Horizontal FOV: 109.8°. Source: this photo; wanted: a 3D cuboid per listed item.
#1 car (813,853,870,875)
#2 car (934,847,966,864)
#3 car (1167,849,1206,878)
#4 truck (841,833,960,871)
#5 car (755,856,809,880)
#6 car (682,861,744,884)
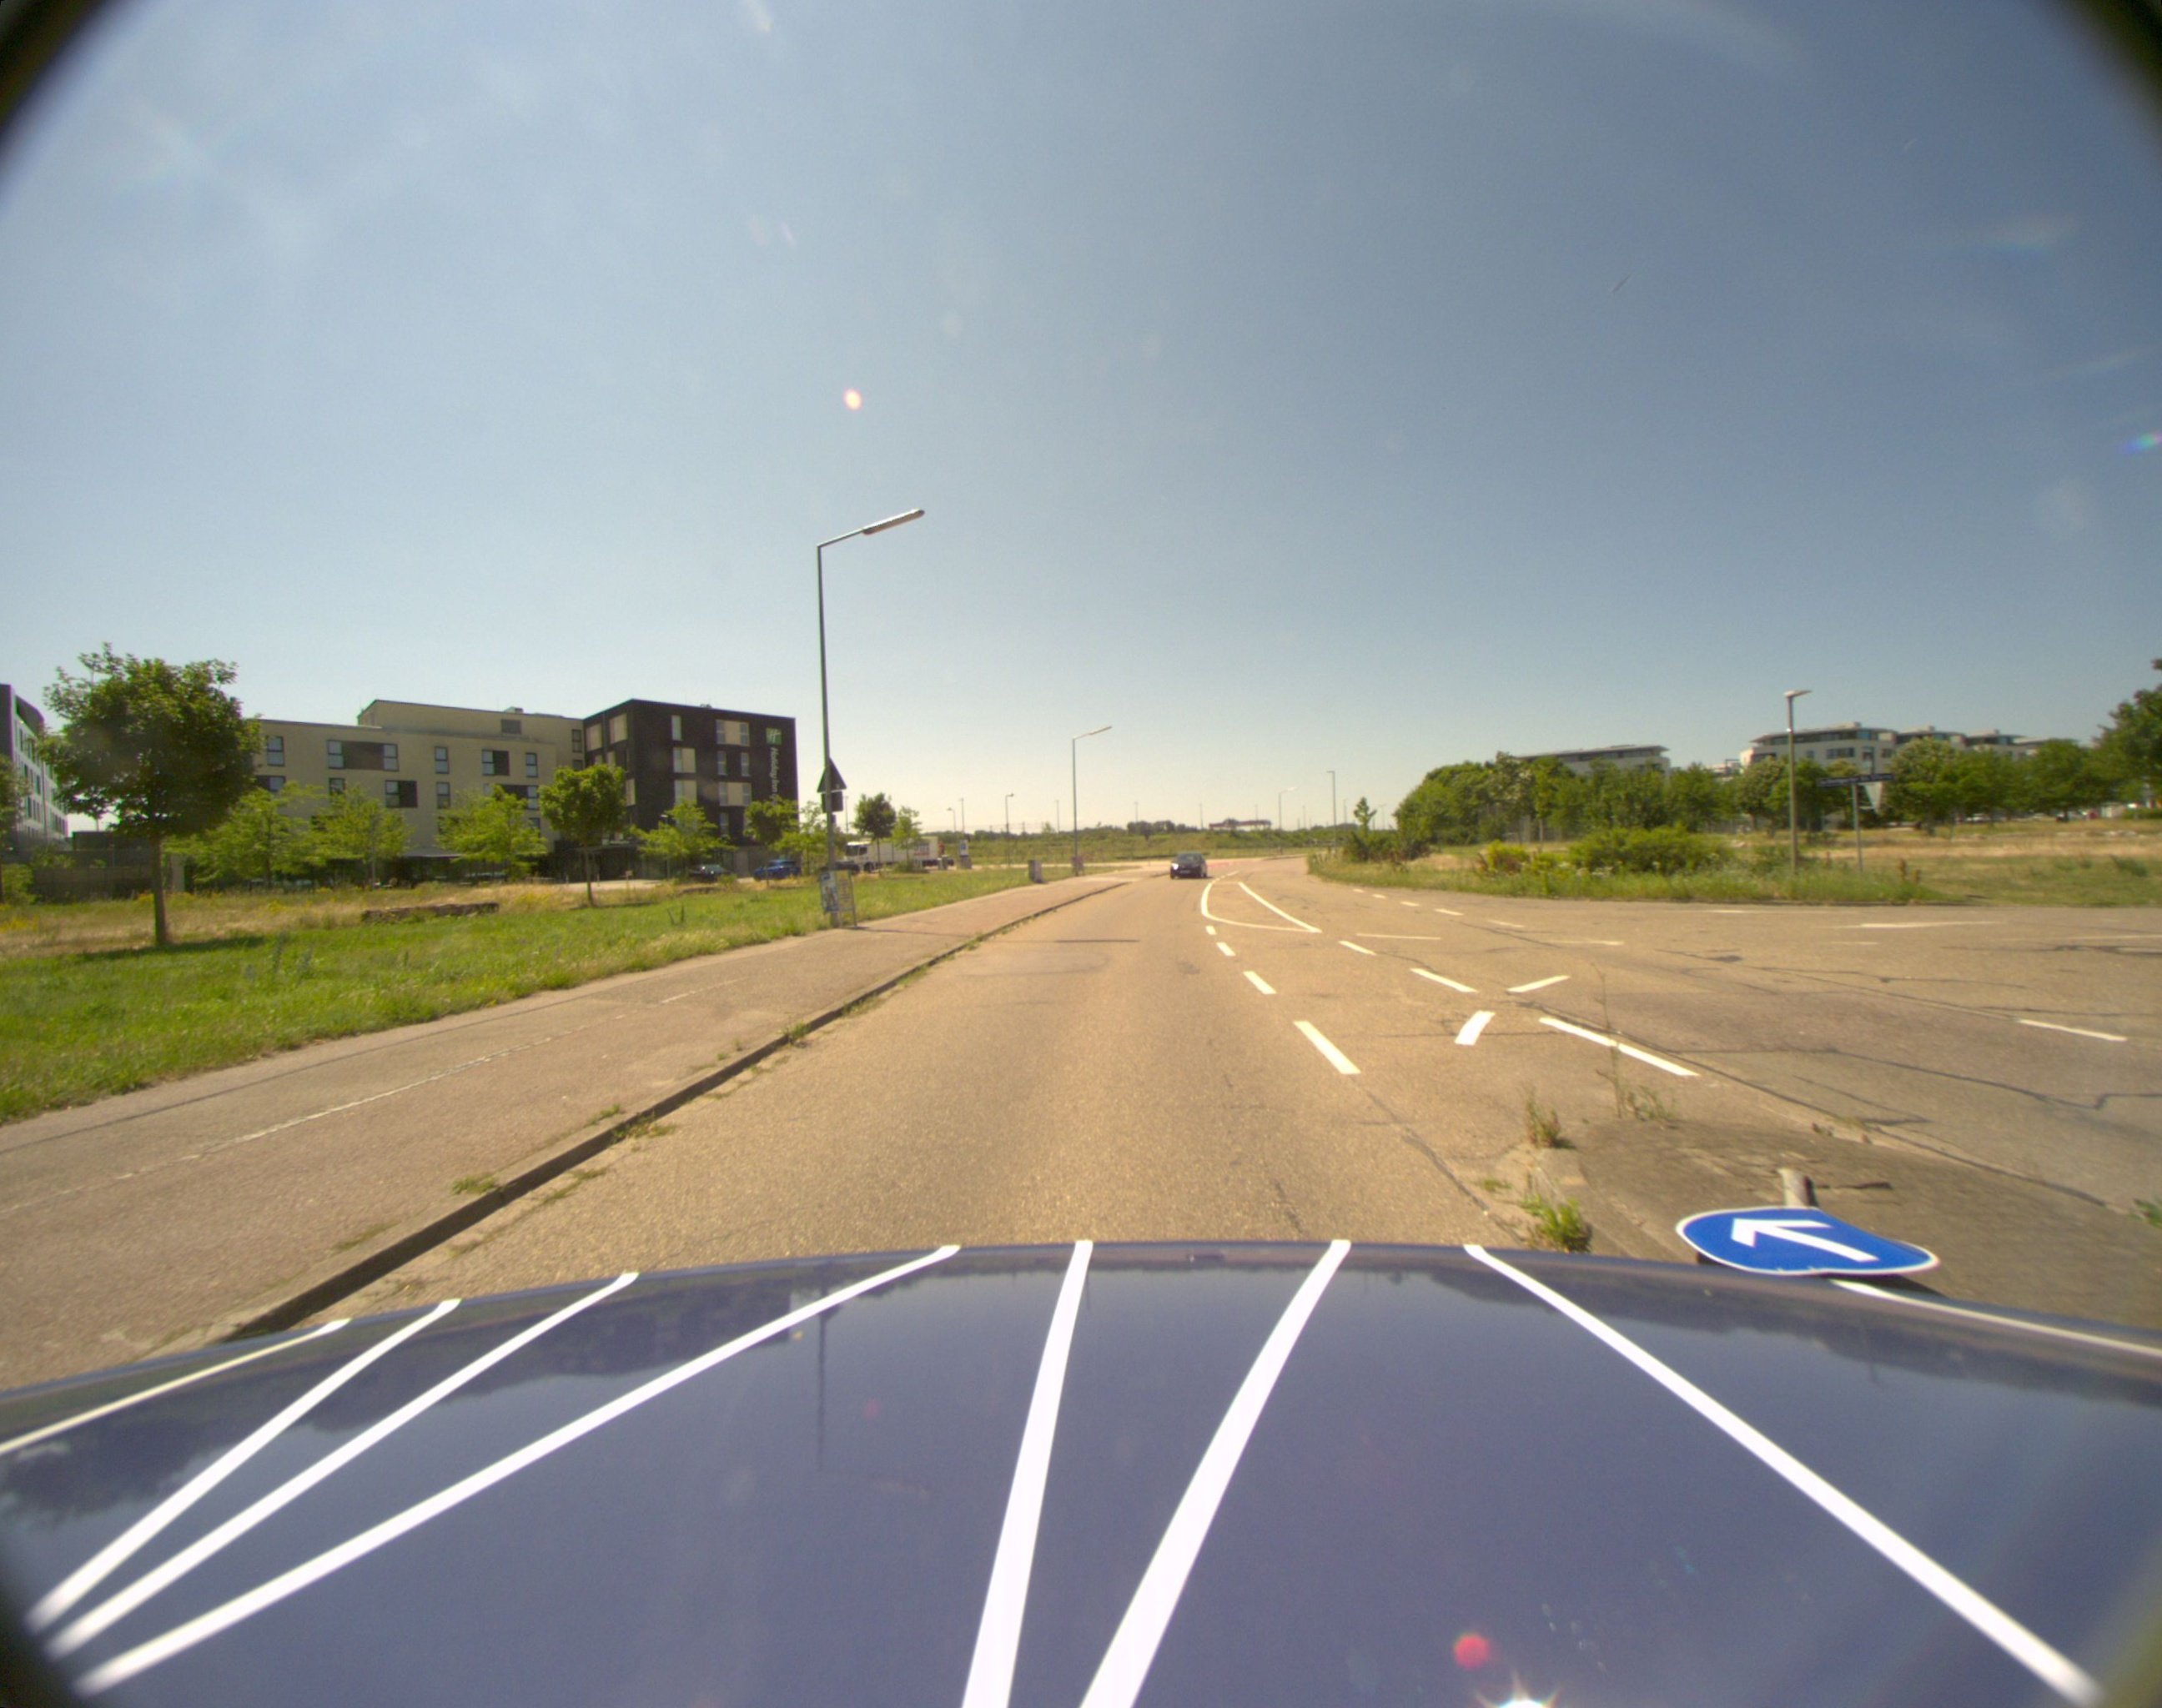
[{"bbox_3d":[-18.712,0.797,59.273,4.495,1.553,2.036,-1,1,39],"label":"car"},{"bbox_3d":[-16.791,0.219,97.122,3.905,2.002,1.884,-1,1,42],"label":"car"},{"bbox_3d":[5.906,0.473,42.085,1.652,1.458,4.163,-2,1,14],"label":"car"},{"bbox_3d":[-18.100,-0.286,77.337,3.009,3.442,12.162,1,3,41],"label":"truck"},{"bbox_3d":[-22.049,1.053,56.012,4.060,1.642,1.958,-2,1,40],"label":"car"},{"bbox_3d":[-25.276,1.288,52.202,4.115,1.436,1.966,-2,1,34],"label":"car"}]
